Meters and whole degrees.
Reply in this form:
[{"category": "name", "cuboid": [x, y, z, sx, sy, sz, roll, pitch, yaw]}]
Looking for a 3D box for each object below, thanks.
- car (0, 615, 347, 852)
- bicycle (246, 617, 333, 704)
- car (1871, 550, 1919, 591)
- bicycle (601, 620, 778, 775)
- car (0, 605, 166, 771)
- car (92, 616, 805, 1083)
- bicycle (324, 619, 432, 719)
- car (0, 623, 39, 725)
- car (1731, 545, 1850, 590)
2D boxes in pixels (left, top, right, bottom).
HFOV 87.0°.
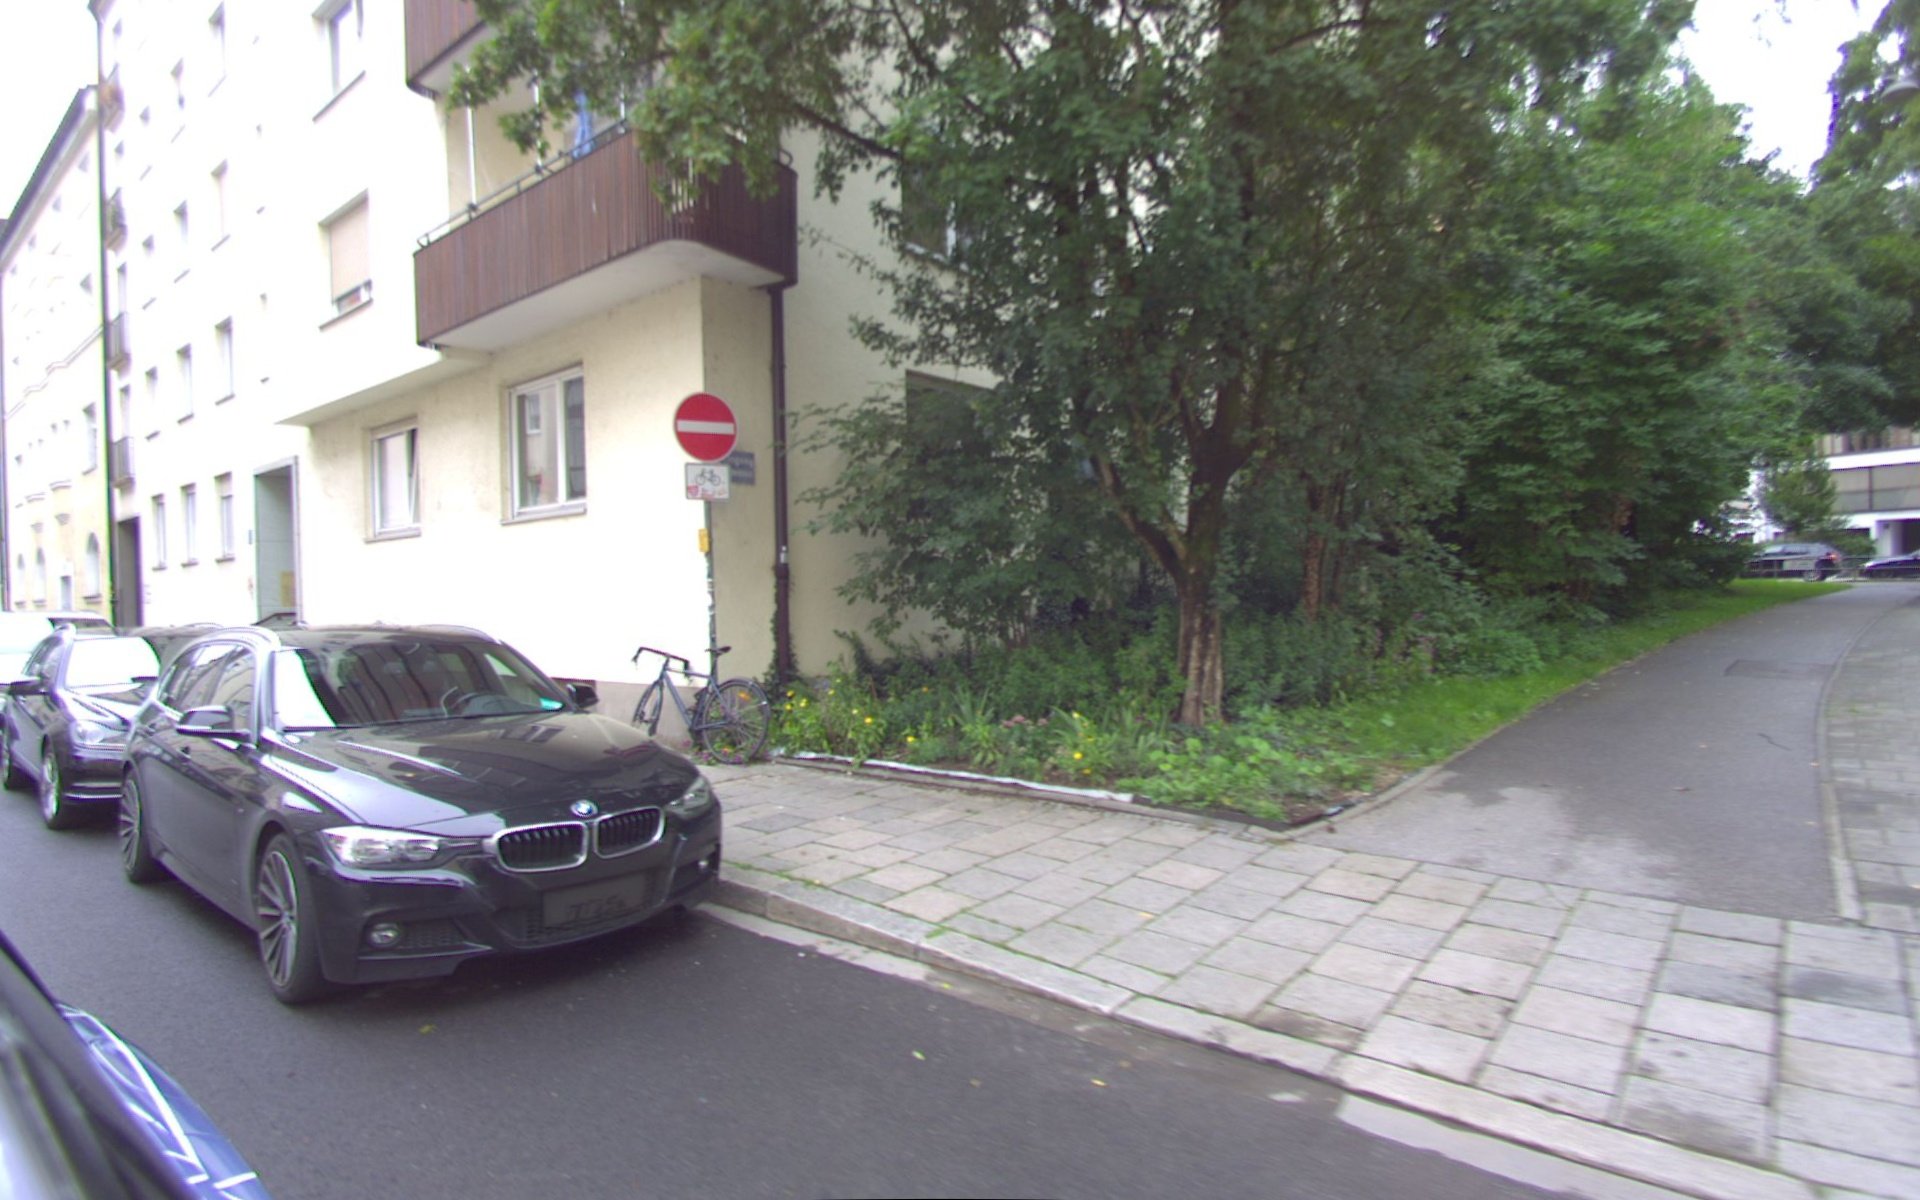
[{"category": "car", "cuboid": [-6.956, 0.888, 8.644, 4.422, 1.494, 1.747, -1, 0, 42]}, {"category": "bicycle", "cuboid": [-9.567, 0.826, 14.410, 1.788, 1.170, 0.575, -1, -1, 41]}, {"category": "car", "cuboid": [39.087, -1.248, 40.178, 1.747, 1.557, 4.247, -3, 0, -45]}, {"category": "bicycle", "cuboid": [-2.304, 0.759, 8.485, 1.788, 1.170, 0.529, -1, -1, 41]}, {"category": "car", "cuboid": [-11.224, 0.930, 12.197, 4.363, 1.688, 1.748, -1, 0, 40]}, {"category": "car", "cuboid": [-2.940, 0.822, 5.283, 4.381, 1.419, 1.836, -1, -1, 41]}, {"category": "bicycle", "cuboid": [-7.363, 0.831, 12.774, 1.788, 1.170, 0.638, -1, -1, 41]}, {"category": "car", "cuboid": [-15.557, 1.107, 15.554, 3.800, 1.446, 1.635, -1, 0, 41]}, {"category": "car", "cuboid": [35.965, -1.373, 43.880, 1.747, 1.718, 3.813, -3, 0, -45]}]
